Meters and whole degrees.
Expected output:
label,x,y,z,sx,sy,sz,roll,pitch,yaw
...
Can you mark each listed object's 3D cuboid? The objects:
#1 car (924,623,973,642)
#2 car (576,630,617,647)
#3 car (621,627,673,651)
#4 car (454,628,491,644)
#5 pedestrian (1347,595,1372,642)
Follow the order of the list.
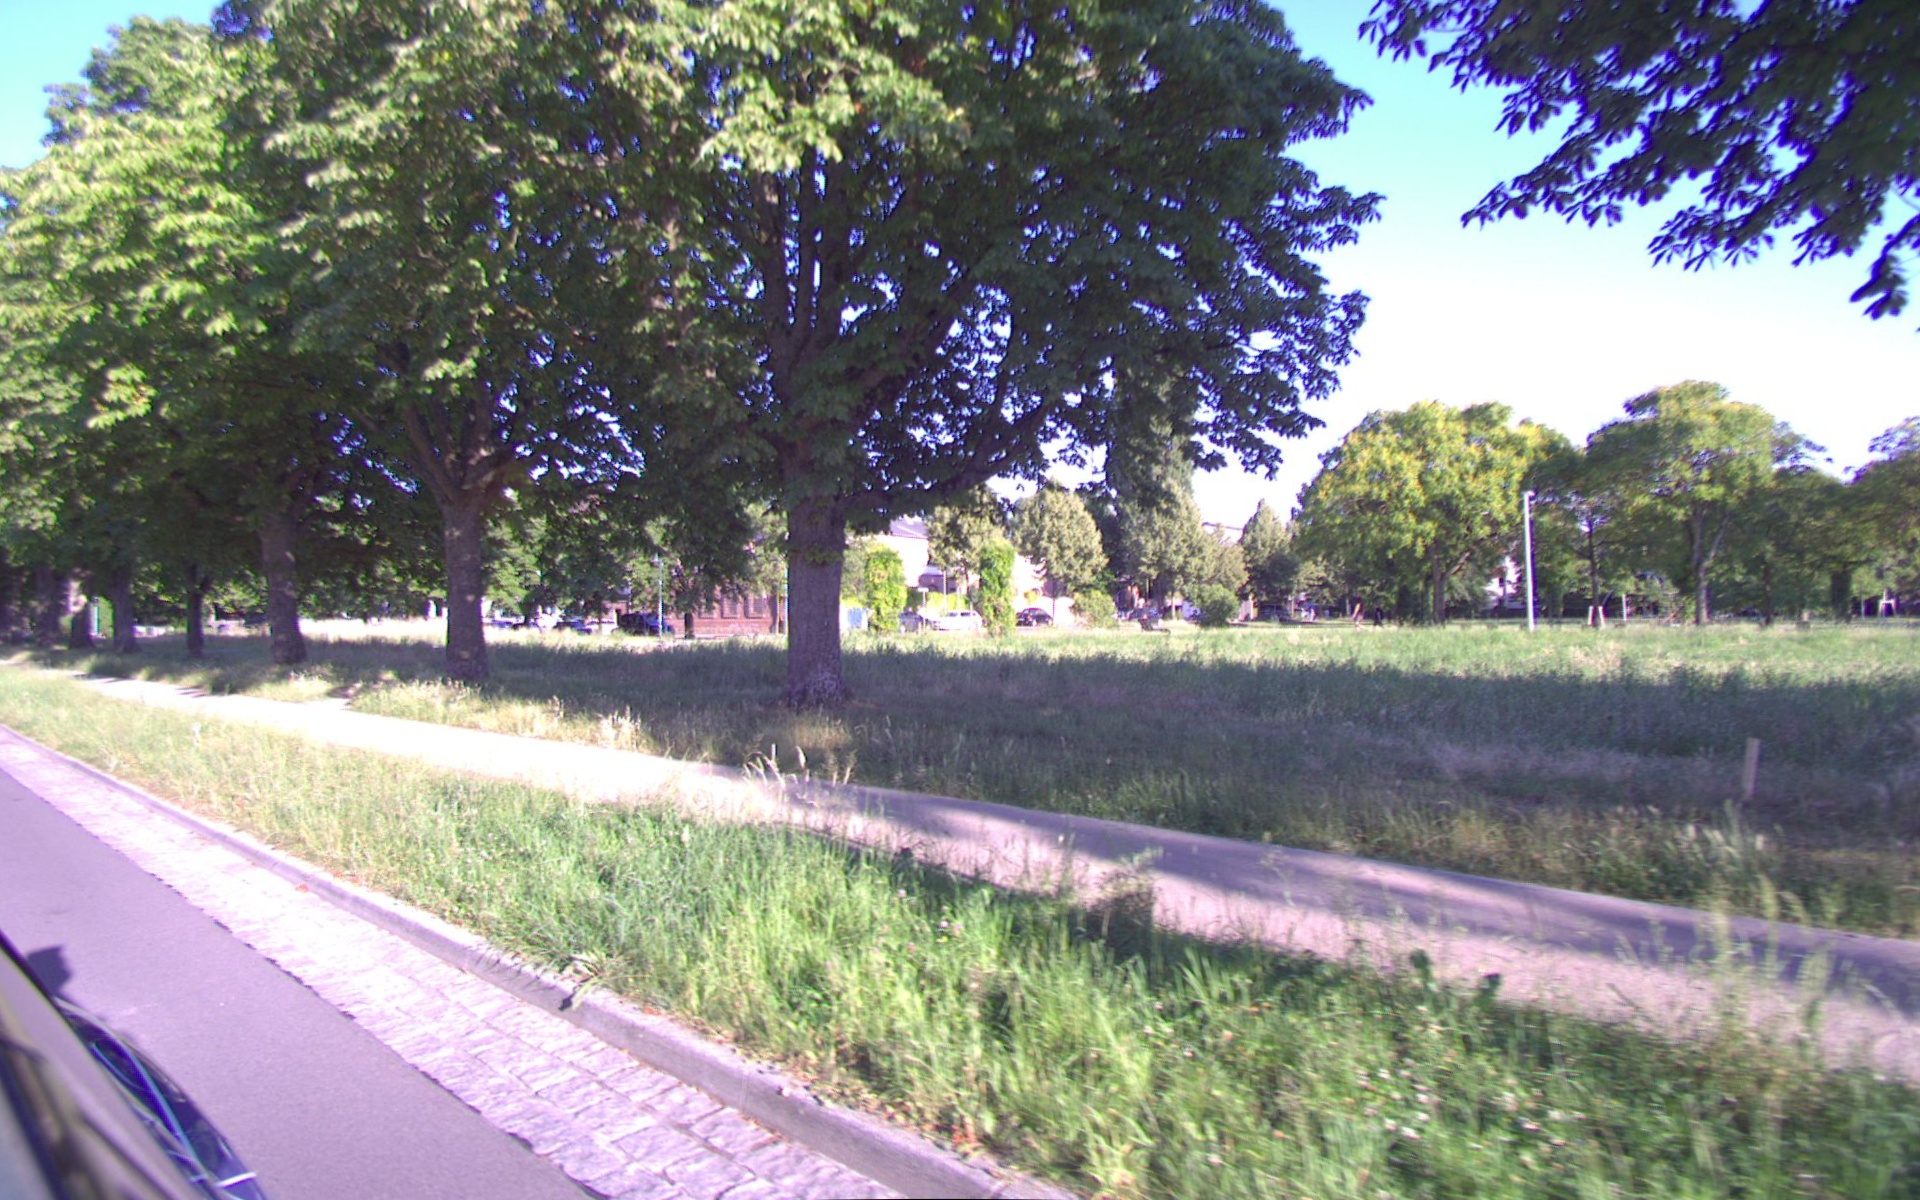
label,x,y,z,sx,sy,sz,roll,pitch,yaw
car,-0.806,2.364,74.091,1.586,1.290,3.589,-2,-1,42
car,-28.943,3.044,80.578,3.580,1.284,1.564,-2,-1,42
car,-20.298,2.507,65.546,3.639,1.492,1.564,-2,-1,42
car,-45.906,3.374,95.215,3.793,1.490,1.744,-2,-1,41
pedestrian,14.848,0.686,37.587,0.709,1.737,0.774,-1,-1,13
